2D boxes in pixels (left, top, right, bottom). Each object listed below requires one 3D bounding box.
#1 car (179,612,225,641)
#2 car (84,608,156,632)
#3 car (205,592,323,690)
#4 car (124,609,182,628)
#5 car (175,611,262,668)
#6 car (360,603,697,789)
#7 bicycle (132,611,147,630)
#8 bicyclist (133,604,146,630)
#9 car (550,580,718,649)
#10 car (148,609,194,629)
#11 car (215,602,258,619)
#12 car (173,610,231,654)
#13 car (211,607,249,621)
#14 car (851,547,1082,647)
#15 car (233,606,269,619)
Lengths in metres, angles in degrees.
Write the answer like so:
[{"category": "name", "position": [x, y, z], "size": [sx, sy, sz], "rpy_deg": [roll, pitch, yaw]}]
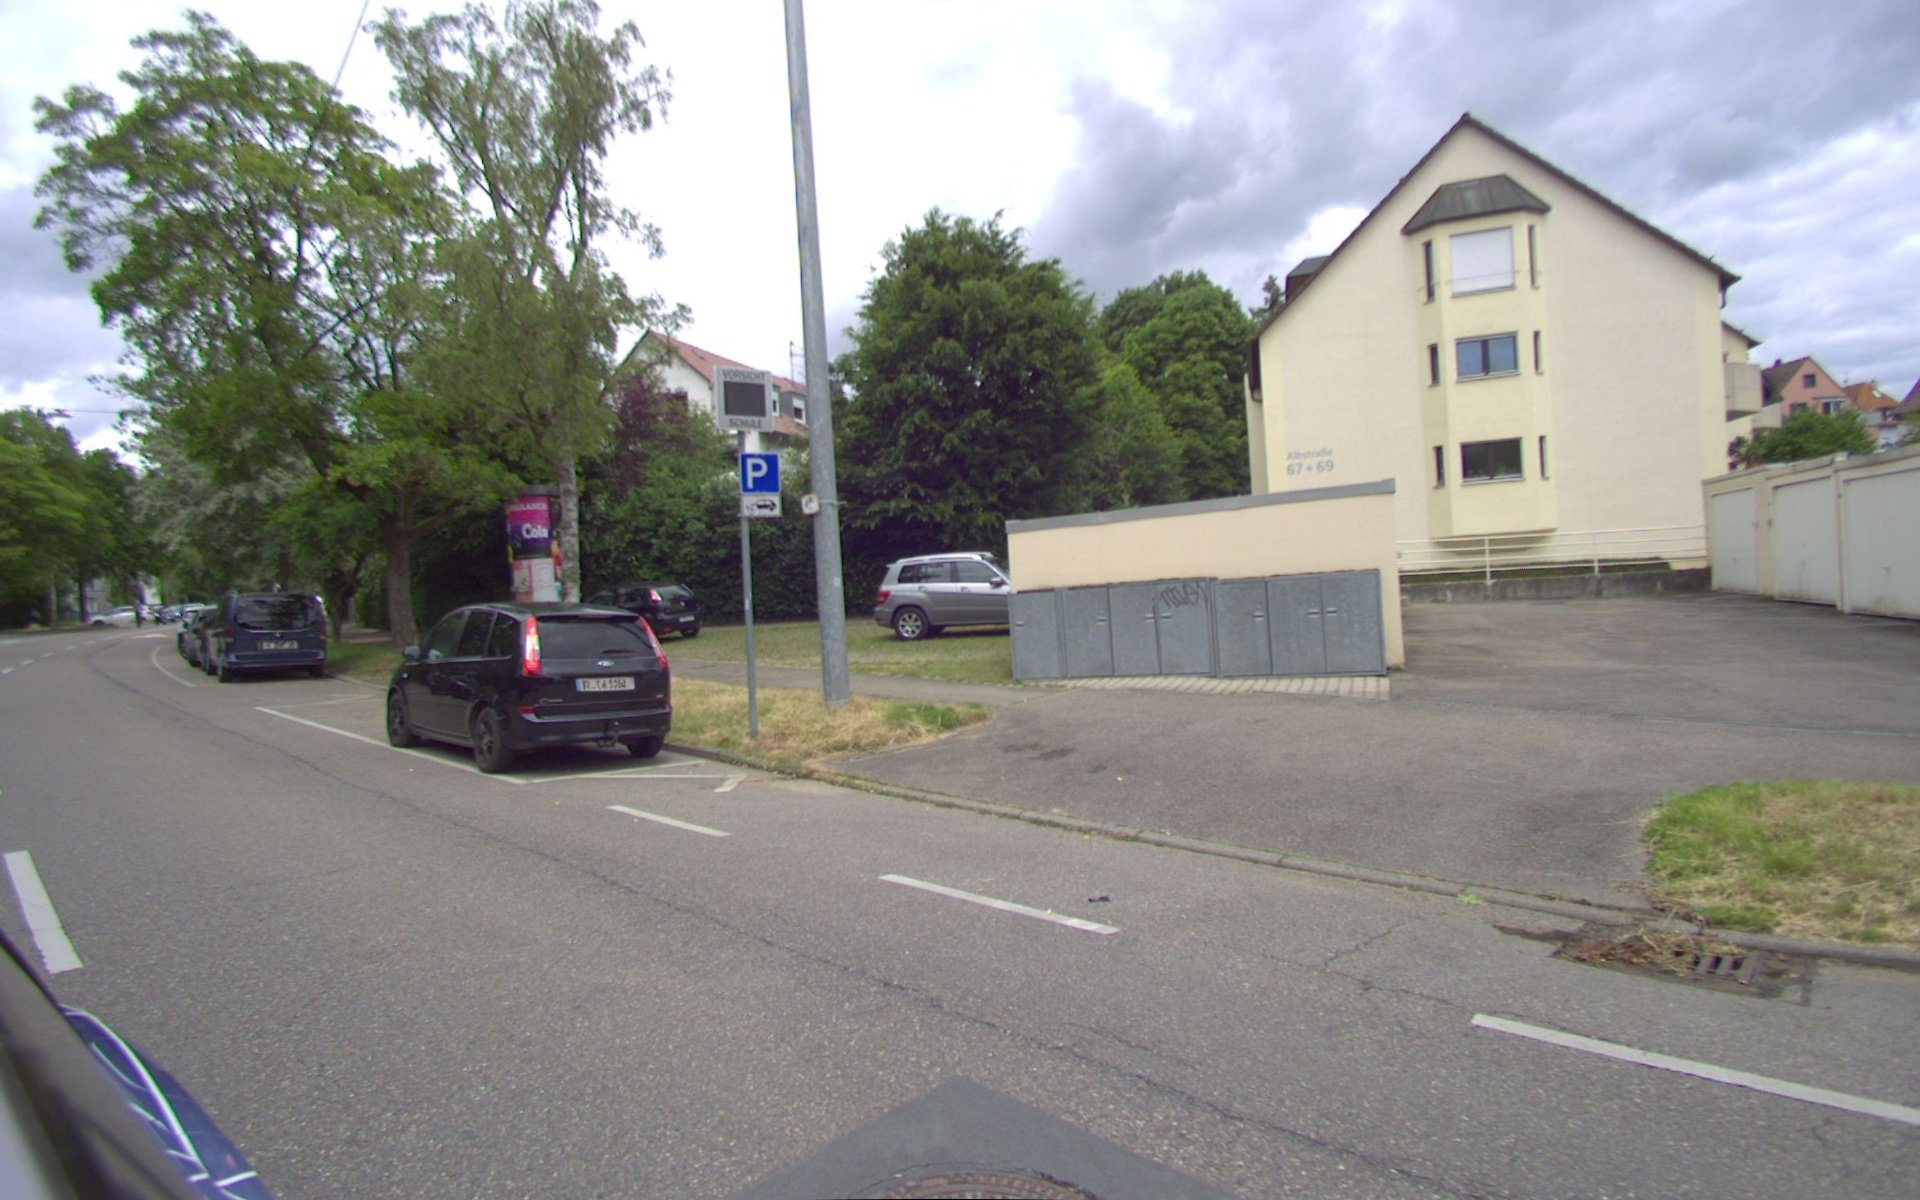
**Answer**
[{"category": "car", "position": [-39.913, 1.367, 53.246], "size": [1.714, 1.427, 4.480], "rpy_deg": [-1, 0, -40]}, {"category": "car", "position": [-70.105, 1.666, 84.526], "size": [4.411, 1.597, 1.911], "rpy_deg": [-5, 3, -37]}, {"category": "car", "position": [-15.879, 0.847, 22.975], "size": [1.834, 1.923, 5.093], "rpy_deg": [-2, 1, -38]}, {"category": "car", "position": [-76.272, 1.726, 95.652], "size": [1.865, 1.474, 3.947], "rpy_deg": [-2, 3, 41]}, {"category": "car", "position": [-22.588, 1.132, 30.775], "size": [1.843, 1.549, 4.234], "rpy_deg": [-2, 1, -40]}, {"category": "car", "position": [-4.718, 0.850, 10.735], "size": [4.268, 1.575, 1.784], "rpy_deg": [-1, -2, 44]}, {"category": "bicycle", "position": [-57.853, 1.454, 71.392], "size": [0.637, 1.246, 1.882], "rpy_deg": [-3, 2, -35]}, {"category": "bicyclist", "position": [-57.926, 1.173, 71.456], "size": [0.637, 1.792, 0.630], "rpy_deg": [-3, 2, -36]}, {"category": "car", "position": [-8.303, 0.375, 25.705], "size": [3.974, 1.488, 1.762], "rpy_deg": [-2, 4, 30]}, {"category": "car", "position": [-62.372, 1.508, 80.072], "size": [1.830, 1.384, 4.089], "rpy_deg": [-3, 2, -23]}, {"category": "car", "position": [-92.905, 1.345, 129.984], "size": [1.858, 1.771, 4.165], "rpy_deg": [-2, 3, 41]}, {"category": "car", "position": [-29.773, 1.206, 39.806], "size": [1.713, 1.590, 4.151], "rpy_deg": [-1, 0, -37]}, {"category": "car", "position": [-91.679, 1.741, 127.127], "size": [3.797, 1.449, 1.719], "rpy_deg": [-5, 3, -38]}, {"category": "car", "position": [0.183, -0.076, 20.921], "size": [4.363, 1.661, 1.991], "rpy_deg": [-3, 4, 15]}, {"category": "car", "position": [-94.910, 1.686, 135.498], "size": [3.797, 1.445, 1.658], "rpy_deg": [-5, 3, -38]}]
